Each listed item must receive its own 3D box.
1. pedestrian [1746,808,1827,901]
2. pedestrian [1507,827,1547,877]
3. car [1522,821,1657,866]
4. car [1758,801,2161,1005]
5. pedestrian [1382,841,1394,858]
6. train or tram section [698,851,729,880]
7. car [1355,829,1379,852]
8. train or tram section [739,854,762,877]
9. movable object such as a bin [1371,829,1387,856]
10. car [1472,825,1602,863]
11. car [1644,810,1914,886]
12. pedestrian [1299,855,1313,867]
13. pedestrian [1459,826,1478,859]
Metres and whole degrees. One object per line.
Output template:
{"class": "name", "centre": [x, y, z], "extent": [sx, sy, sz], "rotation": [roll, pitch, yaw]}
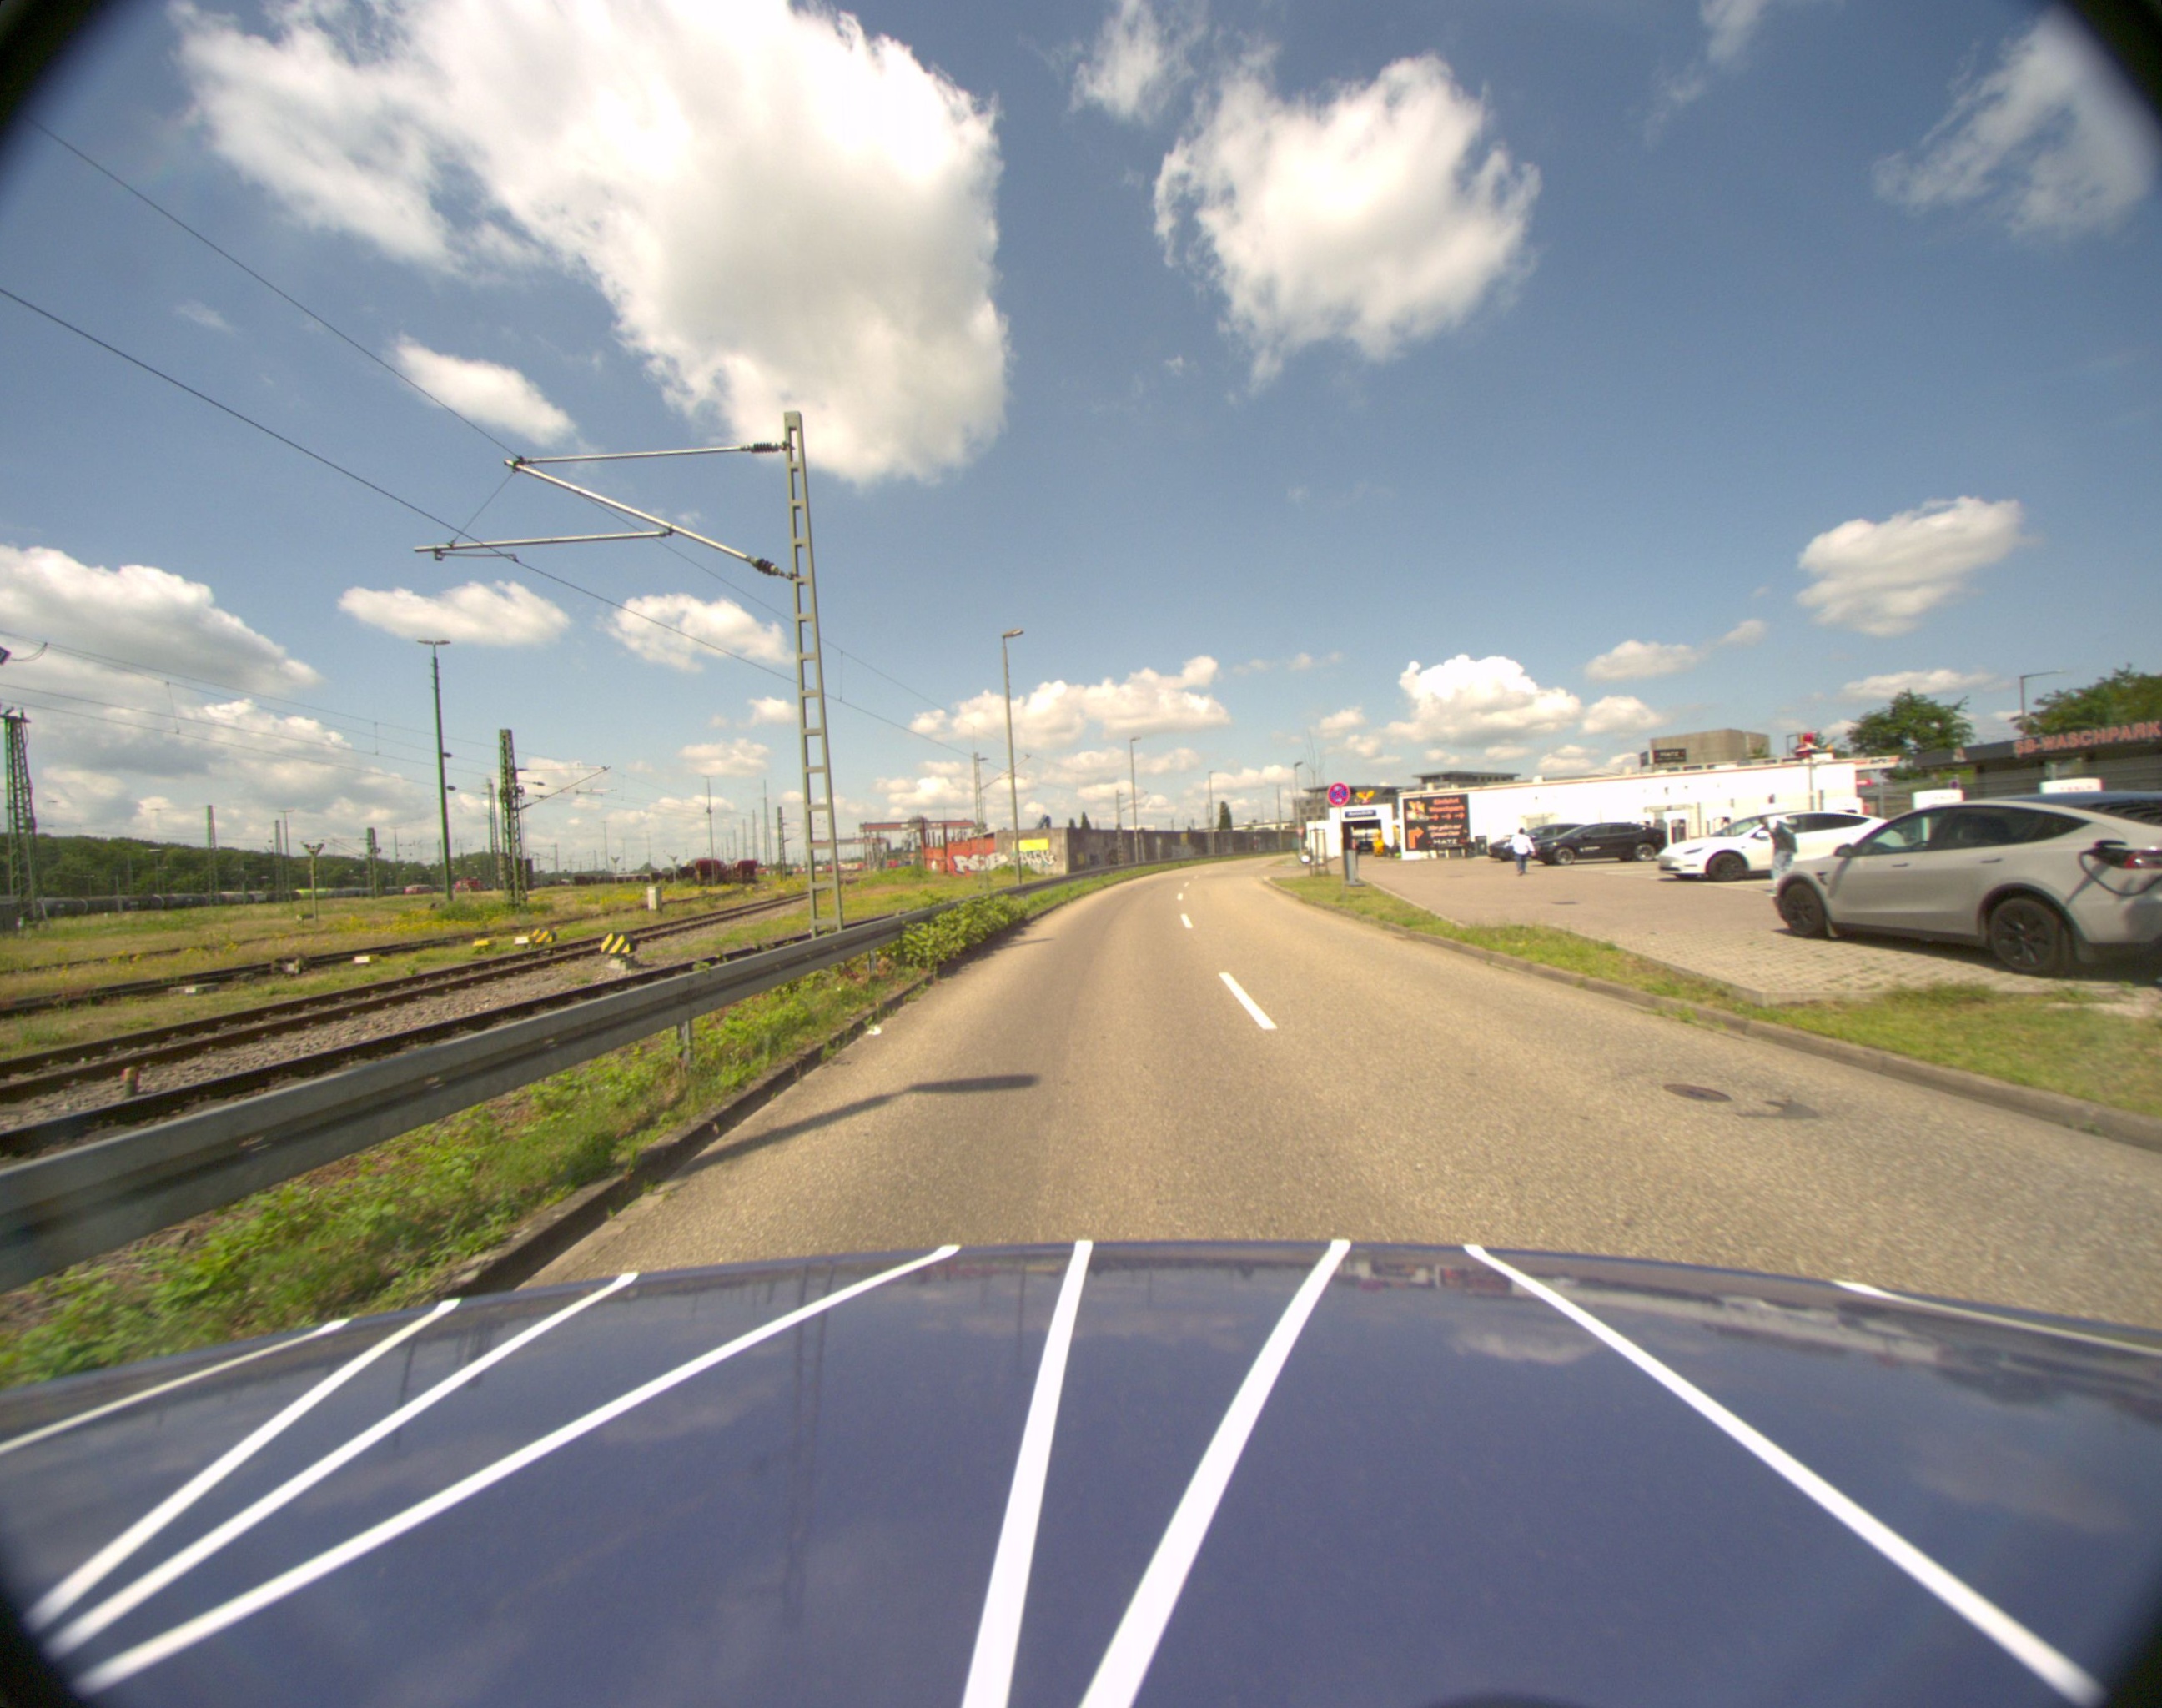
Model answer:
{"class": "pedestrian", "centre": [13.815, 0.008, 14.901], "extent": [0.864, 1.741, 0.728], "rotation": [-4, 1, 11]}
{"class": "pedestrian", "centre": [15.401, -0.058, 26.284], "extent": [0.864, 1.643, 0.941], "rotation": [-3, 0, 11]}
{"class": "car", "centre": [20.257, -0.423, 30.468], "extent": [3.993, 1.510, 2.001], "rotation": [-4, 1, 13]}
{"class": "car", "centre": [9.485, 0.322, 7.634], "extent": [1.933, 1.508, 4.781], "rotation": [-4, -1, 14]}
{"class": "pedestrian", "centre": [23.943, -0.332, 59.334], "extent": [0.754, 1.249, 0.900], "rotation": [-4, 0, 25]}
{"class": "train or tram section", "centre": [-51.738, 1.657, 107.248], "extent": [3.305, 3.695, 12.529], "rotation": [-3, 0, -23]}
{"class": "car", "centre": [28.502, -1.360, 75.585], "extent": [1.995, 2.097, 5.017], "rotation": [-2, 1, 22]}
{"class": "train or tram section", "centre": [-56.568, 2.003, 130.215], "extent": [3.209, 3.695, 12.529], "rotation": [-3, 0, -23]}
{"class": "movable object such as a bin", "centre": [25.748, -1.035, 65.585], "extent": [1.063, 2.140, 2.707], "rotation": [-3, 2, 23]}
{"class": "car", "centre": [21.599, -0.451, 36.192], "extent": [4.753, 1.447, 2.239], "rotation": [-4, 0, 11]}
{"class": "car", "centre": [17.235, -0.137, 19.029], "extent": [4.559, 1.515, 2.001], "rotation": [-4, 0, 11]}
{"class": "pedestrian", "centre": [15.956, 0.494, 53.847], "extent": [0.863, 0.755, 0.819], "rotation": [-2, 0, 22]}
{"class": "pedestrian", "centre": [24.425, -0.707, 47.915], "extent": [0.939, 2.003, 0.866], "rotation": [-3, 3, 22]}
